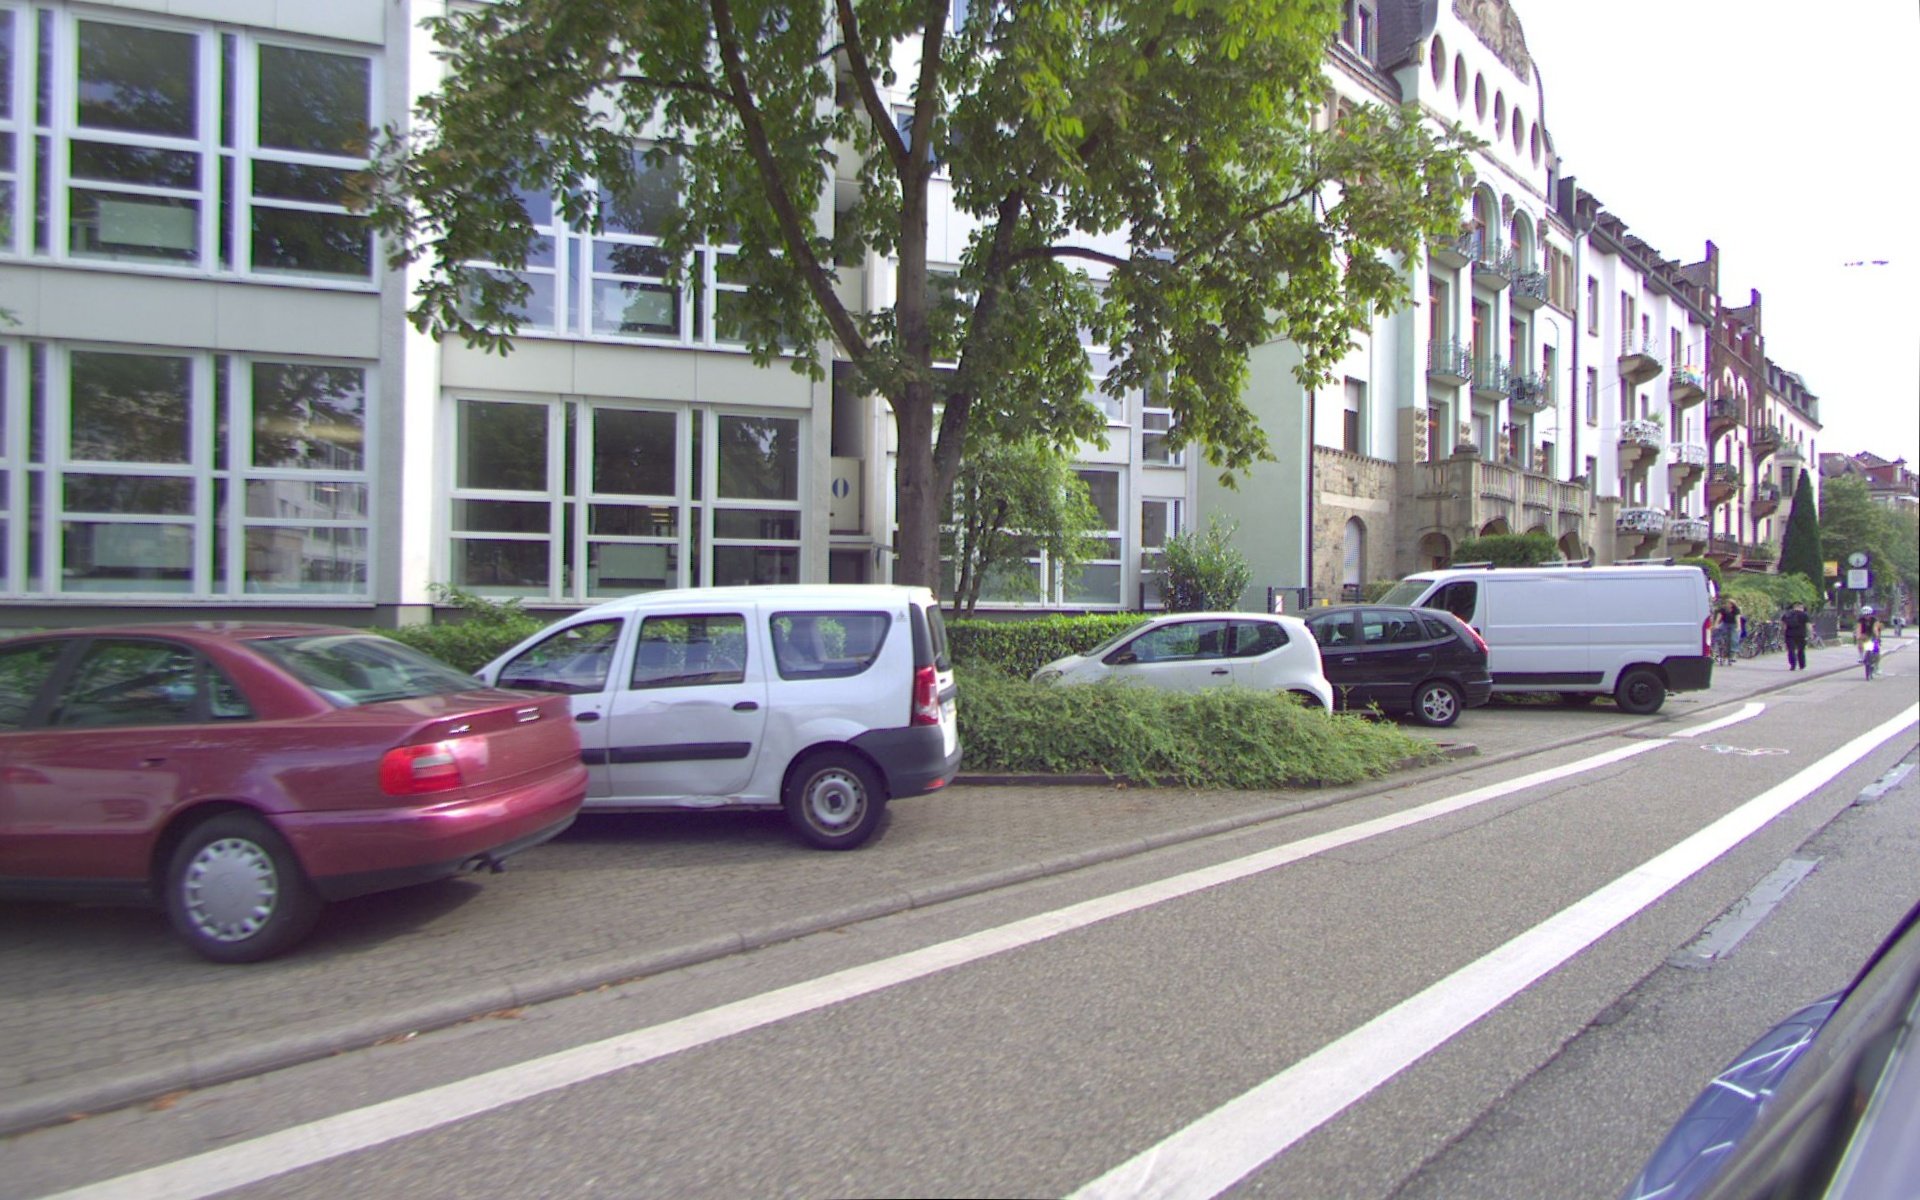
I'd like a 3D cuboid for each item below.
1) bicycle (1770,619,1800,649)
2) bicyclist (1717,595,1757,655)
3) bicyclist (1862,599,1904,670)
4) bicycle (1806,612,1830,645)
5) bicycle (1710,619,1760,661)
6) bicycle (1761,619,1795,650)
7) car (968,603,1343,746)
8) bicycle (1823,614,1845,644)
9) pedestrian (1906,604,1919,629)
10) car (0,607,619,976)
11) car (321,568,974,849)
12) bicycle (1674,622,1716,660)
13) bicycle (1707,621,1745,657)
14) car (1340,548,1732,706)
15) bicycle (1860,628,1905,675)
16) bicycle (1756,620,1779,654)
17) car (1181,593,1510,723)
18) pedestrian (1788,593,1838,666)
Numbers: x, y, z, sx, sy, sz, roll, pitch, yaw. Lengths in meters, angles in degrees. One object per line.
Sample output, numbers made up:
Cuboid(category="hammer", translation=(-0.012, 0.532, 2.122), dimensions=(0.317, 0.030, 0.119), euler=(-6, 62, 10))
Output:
Cuboid(category="bicycle", translation=(26.823, 1.083, 32.904), dimensions=(1.636, 0.918, 0.486), euler=(0, 1, -42))
Cuboid(category="bicyclist", translation=(19.790, 0.626, 25.777), dimensions=(0.787, 1.488, 0.648), euler=(1, 1, -44))
Cuboid(category="bicyclist", translation=(21.333, 0.776, 23.387), dimensions=(1.092, 1.590, 0.639), euler=(1, 0, -44))
Cuboid(category="bicycle", translation=(31.244, 1.034, 36.849), dimensions=(1.887, 1.156, 0.392), euler=(1, 1, -42))
Cuboid(category="bicycle", translation=(19.691, 1.004, 25.701), dimensions=(2.003, 0.974, 0.689), euler=(1, 2, -44))
Cuboid(category="bicycle", translation=(25.584, 1.063, 31.655), dimensions=(1.635, 0.918, 0.487), euler=(0, 1, -39))
Cuboid(category="car", translation=(2.138, 0.799, 11.822), dimensions=(4.018, 1.530, 1.687), euler=(0, 0, 4))
Cuboid(category="bicycle", translation=(33.290, 1.105, 38.559), dimensions=(1.729, 1.116, 0.392), euler=(1, 1, -42))
Cuboid(category="pedestrian", translation=(66.575, 1.163, 70.605), dimensions=(0.720, 1.680, 0.747), euler=(6, 3, 45))
Cuboid(category="car", translation=(-3.945, 0.768, 5.079), dimensions=(3.907, 1.451, 1.686), euler=(0, 0, 7))
Cuboid(category="car", translation=(-1.948, 0.655, 7.057), dimensions=(4.034, 1.689, 1.688), euler=(0, 0, 4))
Cuboid(category="bicycle", translation=(18.645, 1.030, 25.658), dimensions=(1.634, 0.918, 0.387), euler=(0, 1, -37))
Cuboid(category="bicycle", translation=(20.879, 1.055, 27.567), dimensions=(1.634, 0.918, 0.387), euler=(0, 1, -37))
Cuboid(category="car", translation=(8.965, 0.401, 16.260), dimensions=(4.872, 2.319, 2.381), euler=(0, 0, 6))
Cuboid(category="bicycle", translation=(21.334, 1.170, 23.393), dimensions=(2.037, 0.993, 0.639), euler=(1, 0, -44))
Cuboid(category="bicycle", translation=(24.216, 1.093, 30.364), dimensions=(0.484, 0.918, 1.643), euler=(1, 1, 37))
Cuboid(category="car", translation=(5.170, 0.757, 14.001), dimensions=(3.889, 1.670, 1.687), euler=(0, 0, 4))
Cuboid(category="pedestrian", translation=(21.223, 0.716, 25.172), dimensions=(0.880, 1.754, 0.786), euler=(1, 2, -42))
